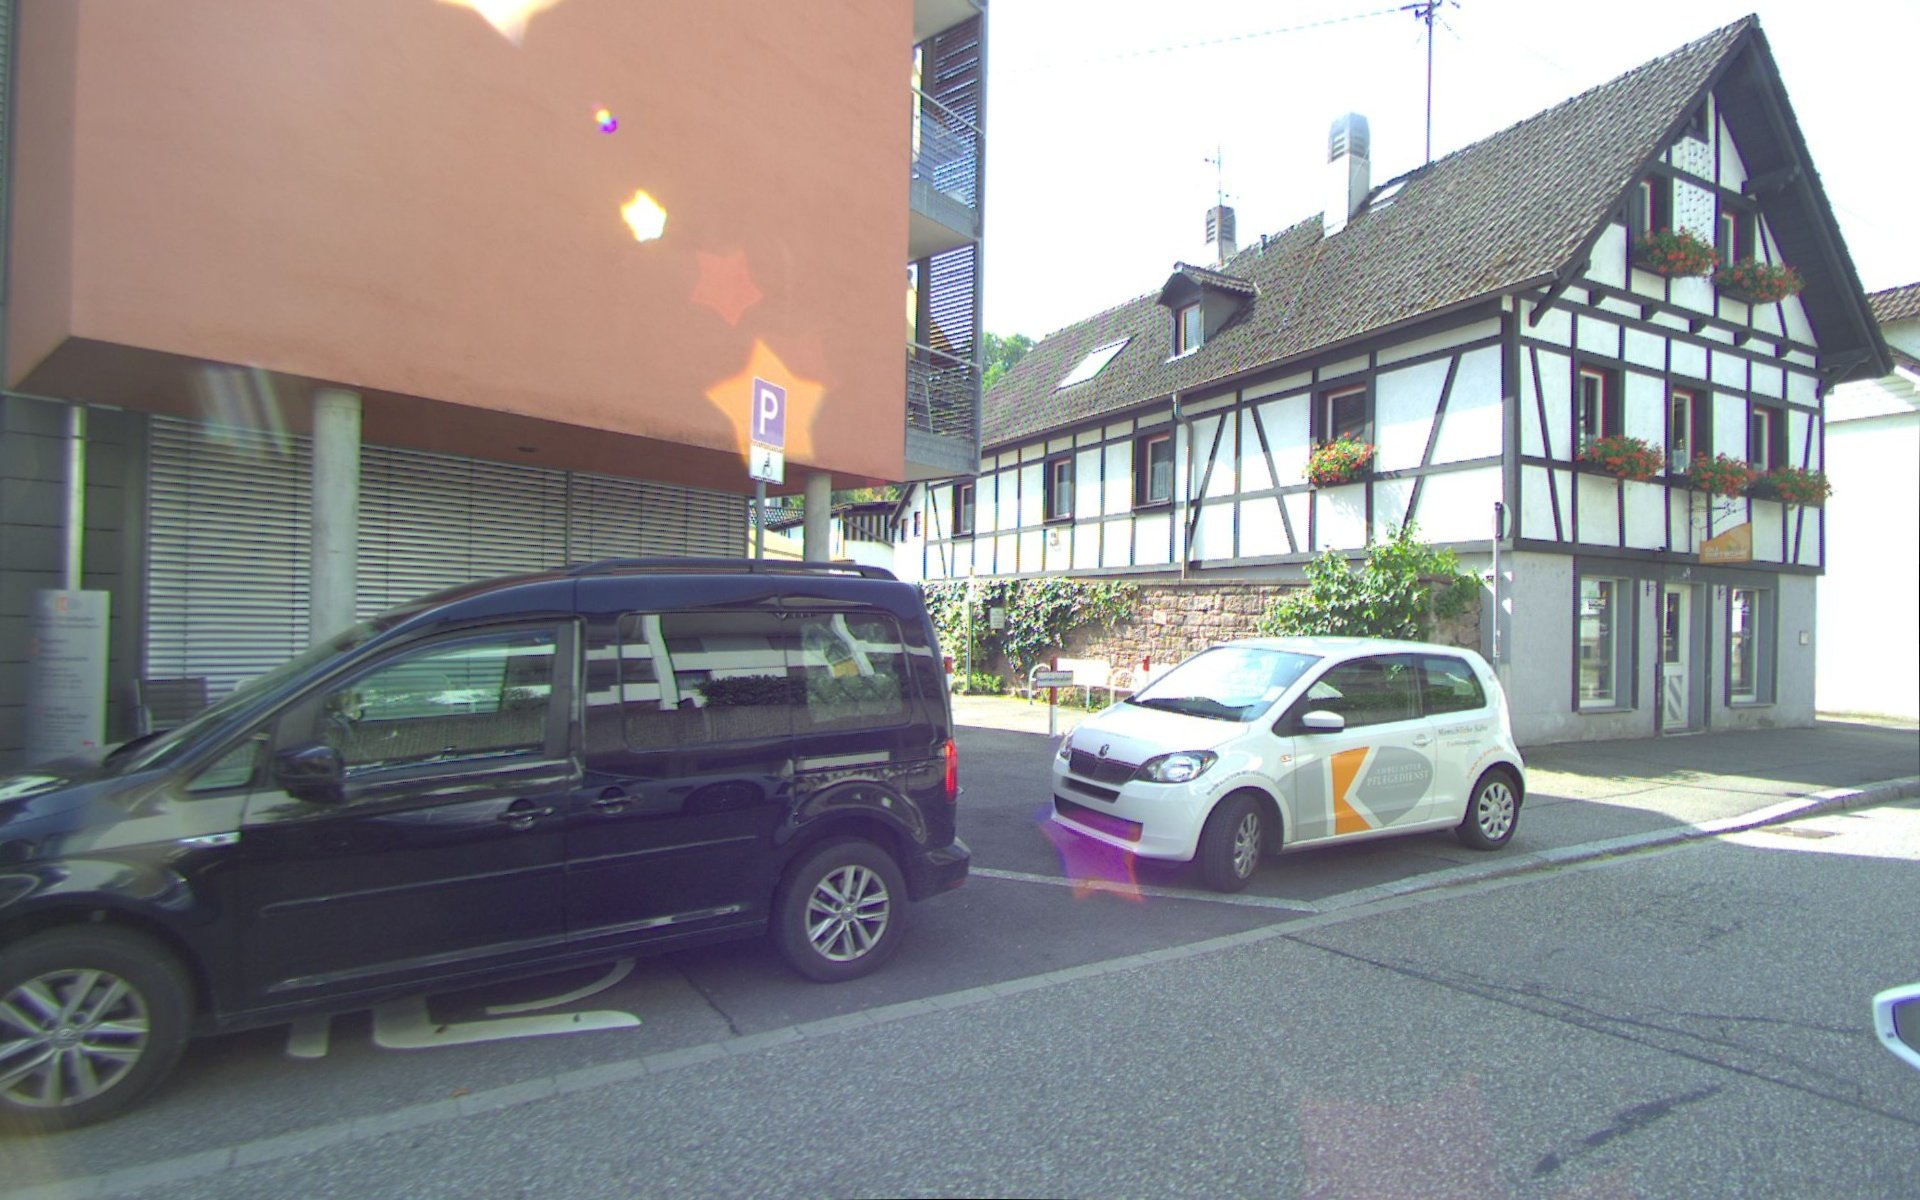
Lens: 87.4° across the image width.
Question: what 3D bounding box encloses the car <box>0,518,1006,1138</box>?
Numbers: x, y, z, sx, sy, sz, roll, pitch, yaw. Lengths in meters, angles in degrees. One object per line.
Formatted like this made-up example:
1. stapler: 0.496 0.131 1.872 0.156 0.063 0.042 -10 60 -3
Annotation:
1. car: -2.011 0.713 4.482 4.222 1.820 1.711 1 -1 -32

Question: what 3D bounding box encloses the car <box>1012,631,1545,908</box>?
1. car: 2.303 0.989 7.157 3.525 1.451 1.659 1 1 -29
